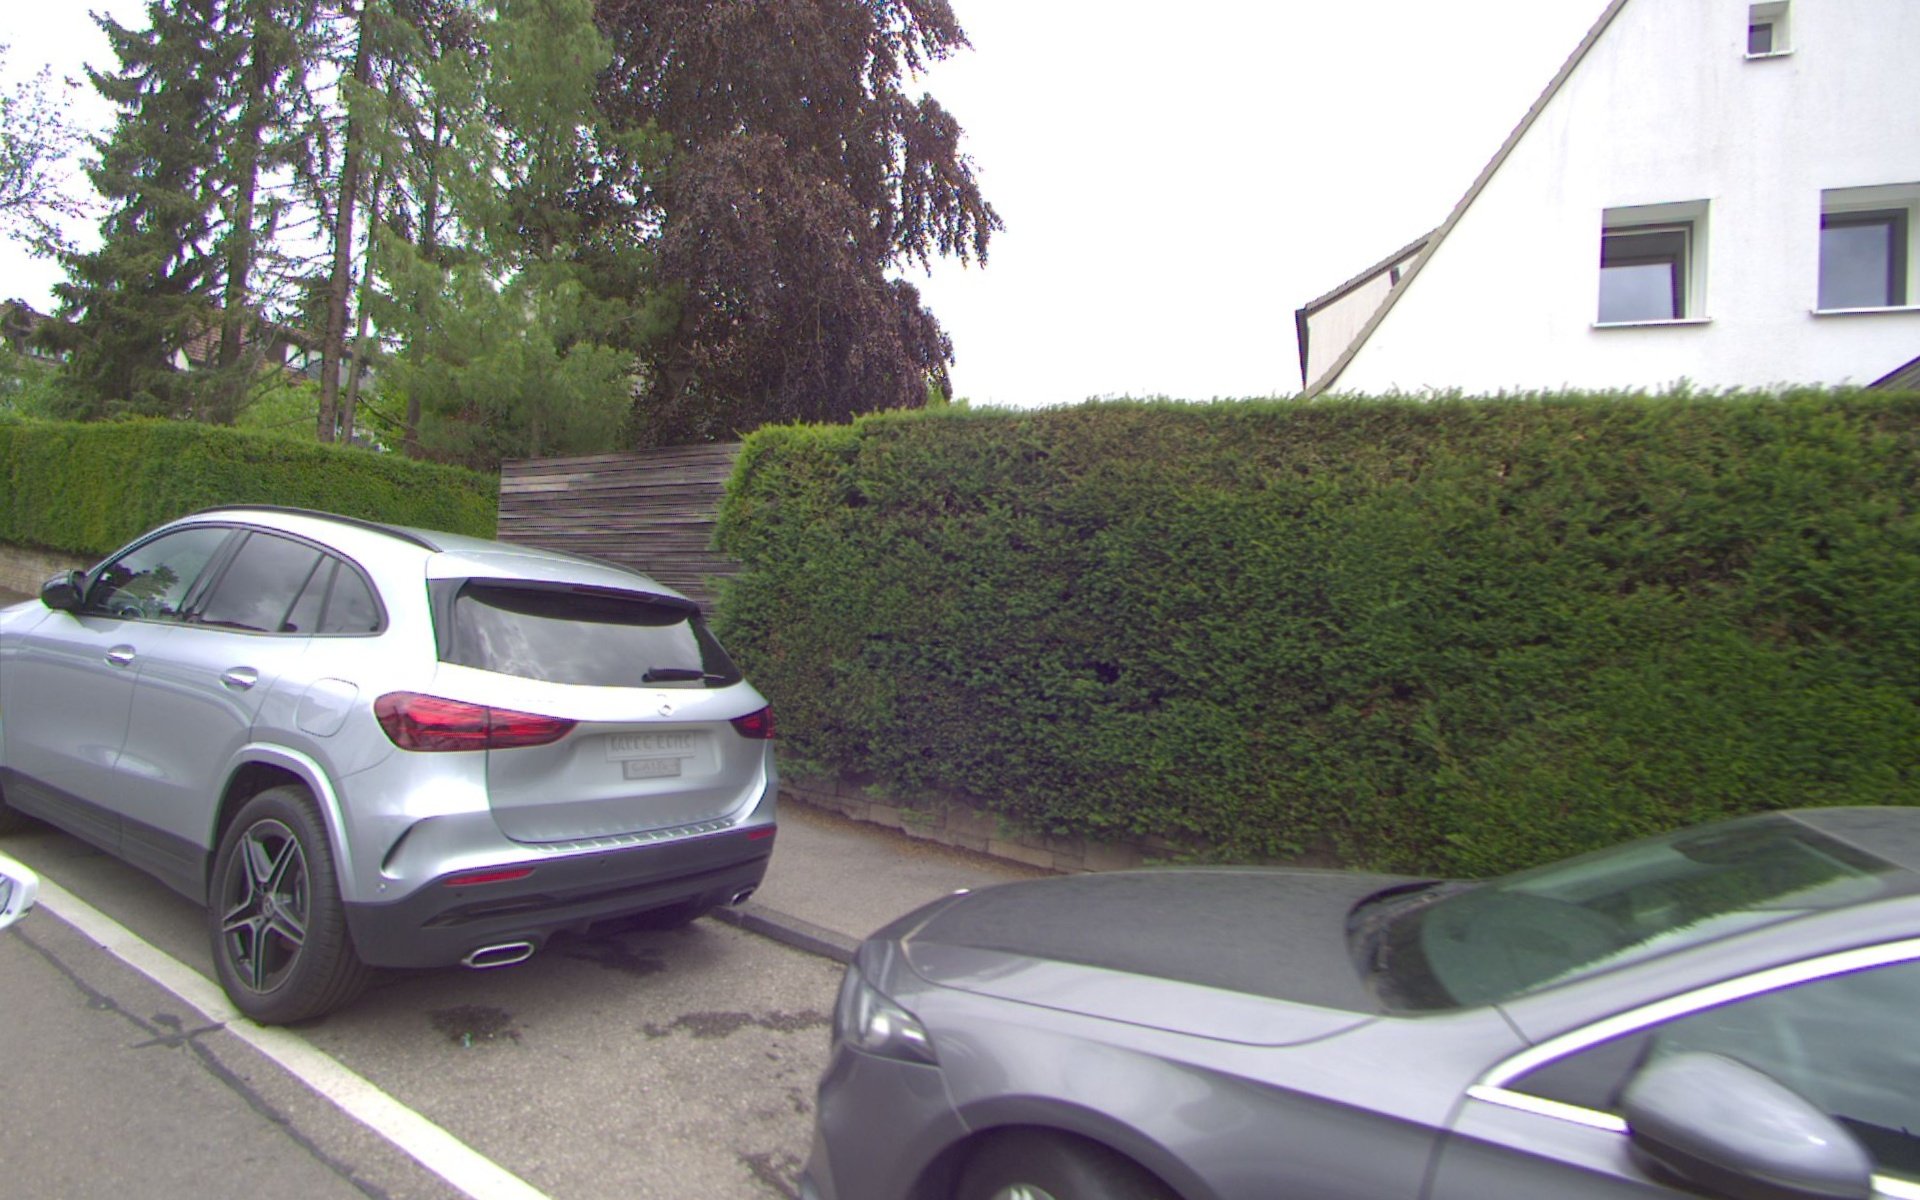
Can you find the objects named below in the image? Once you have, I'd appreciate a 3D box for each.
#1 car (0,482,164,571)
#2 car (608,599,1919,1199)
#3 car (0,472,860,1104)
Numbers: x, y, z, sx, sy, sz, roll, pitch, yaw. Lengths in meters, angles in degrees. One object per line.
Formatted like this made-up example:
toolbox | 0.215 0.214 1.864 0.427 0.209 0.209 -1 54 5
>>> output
car | -20.116 -1.653 21.666 1.848 1.620 4.217 8 1 23
car | 1.570 1.013 1.780 4.101 1.481 1.859 6 -2 30
car | -2.737 0.446 4.527 4.101 1.600 1.859 6 -2 30
